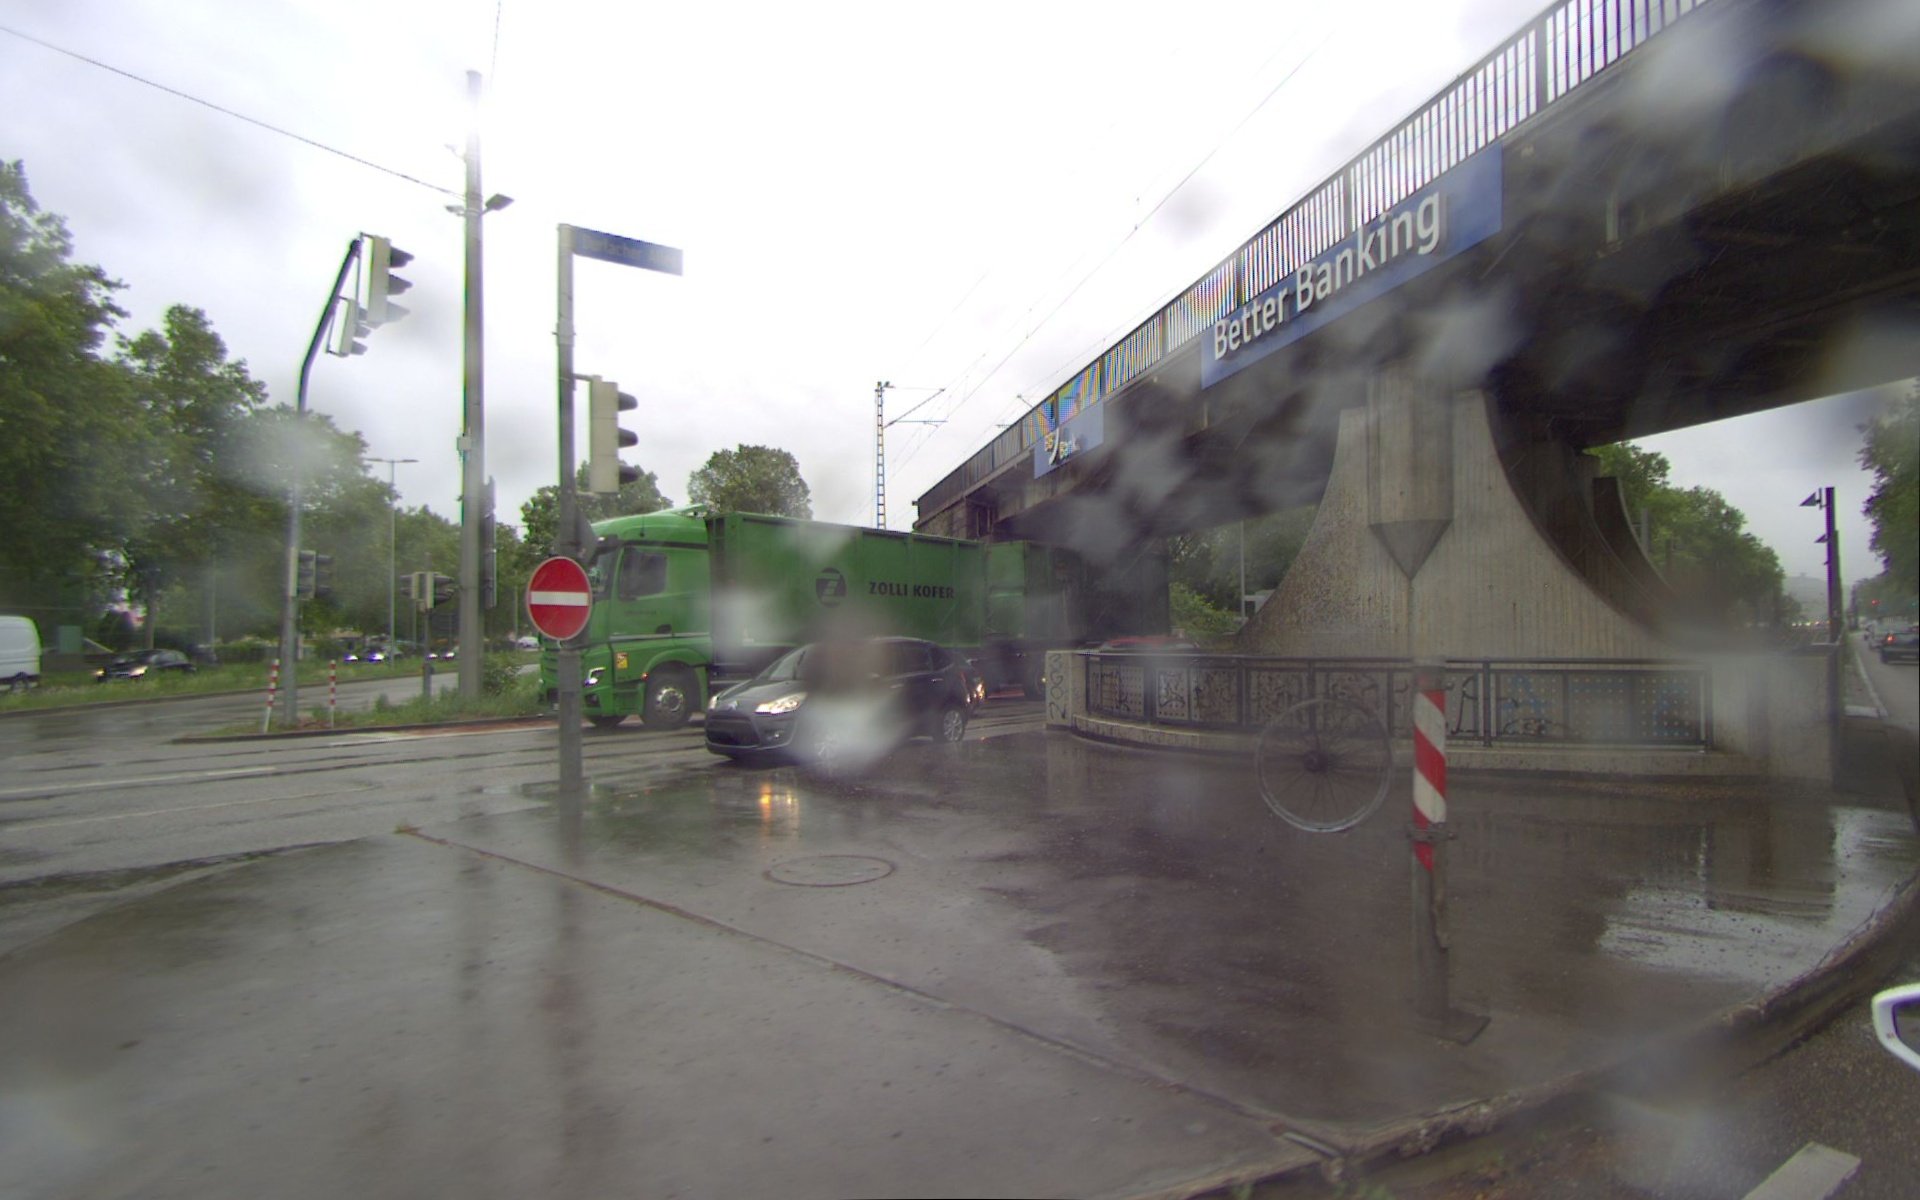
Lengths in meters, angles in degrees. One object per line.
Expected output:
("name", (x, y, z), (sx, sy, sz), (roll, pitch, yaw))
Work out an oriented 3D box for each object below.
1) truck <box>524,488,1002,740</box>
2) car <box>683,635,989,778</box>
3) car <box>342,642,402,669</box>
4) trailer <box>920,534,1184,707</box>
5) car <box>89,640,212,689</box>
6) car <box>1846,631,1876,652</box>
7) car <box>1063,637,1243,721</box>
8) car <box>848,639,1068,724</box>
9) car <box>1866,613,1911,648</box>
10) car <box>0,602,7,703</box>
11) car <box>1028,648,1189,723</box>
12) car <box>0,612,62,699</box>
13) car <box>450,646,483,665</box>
("truck", (-3.364, 0.381, 20.676), (2.649, 4.001, 10.141), (-2, -3, 41))
("car", (-1.454, 1.245, 13.079), (1.634, 1.566, 3.984), (-2, -3, 38))
("car", (-36.012, 3.385, 61.607), (1.876, 1.606, 3.918), (0, -2, -10))
("trailer", (2.825, 0.601, 27.613), (2.651, 4.039, 8.473), (-2, -2, 42))
("car", (-30.030, 2.342, 37.414), (1.836, 1.706, 3.993), (0, -2, -10))
("car", (89.322, 4.080, 99.578), (3.974, 2.040, 1.974), (2, -3, -45))
("car", (3.857, 1.460, 19.646), (1.794, 1.471, 3.982), (-2, -3, 39))
("car", (0.086, 1.538, 20.171), (1.722, 1.505, 4.658), (-2, -3, 43))
("car", (58.678, 1.942, 63.499), (2.027, 2.168, 3.977), (-2, -3, 43))
("car", (-24.044, 1.186, 21.816), (1.935, 2.465, 5.950), (0, -2, -11))
("car", (3.585, 1.938, 23.744), (1.970, 1.594, 3.981), (-2, -3, 40))
("car", (-28.331, 1.579, 28.393), (1.935, 2.465, 5.252), (0, -2, -11))
("car", (-40.477, 4.540, 82.457), (1.554, 1.543, 3.916), (0, -2, -13))
